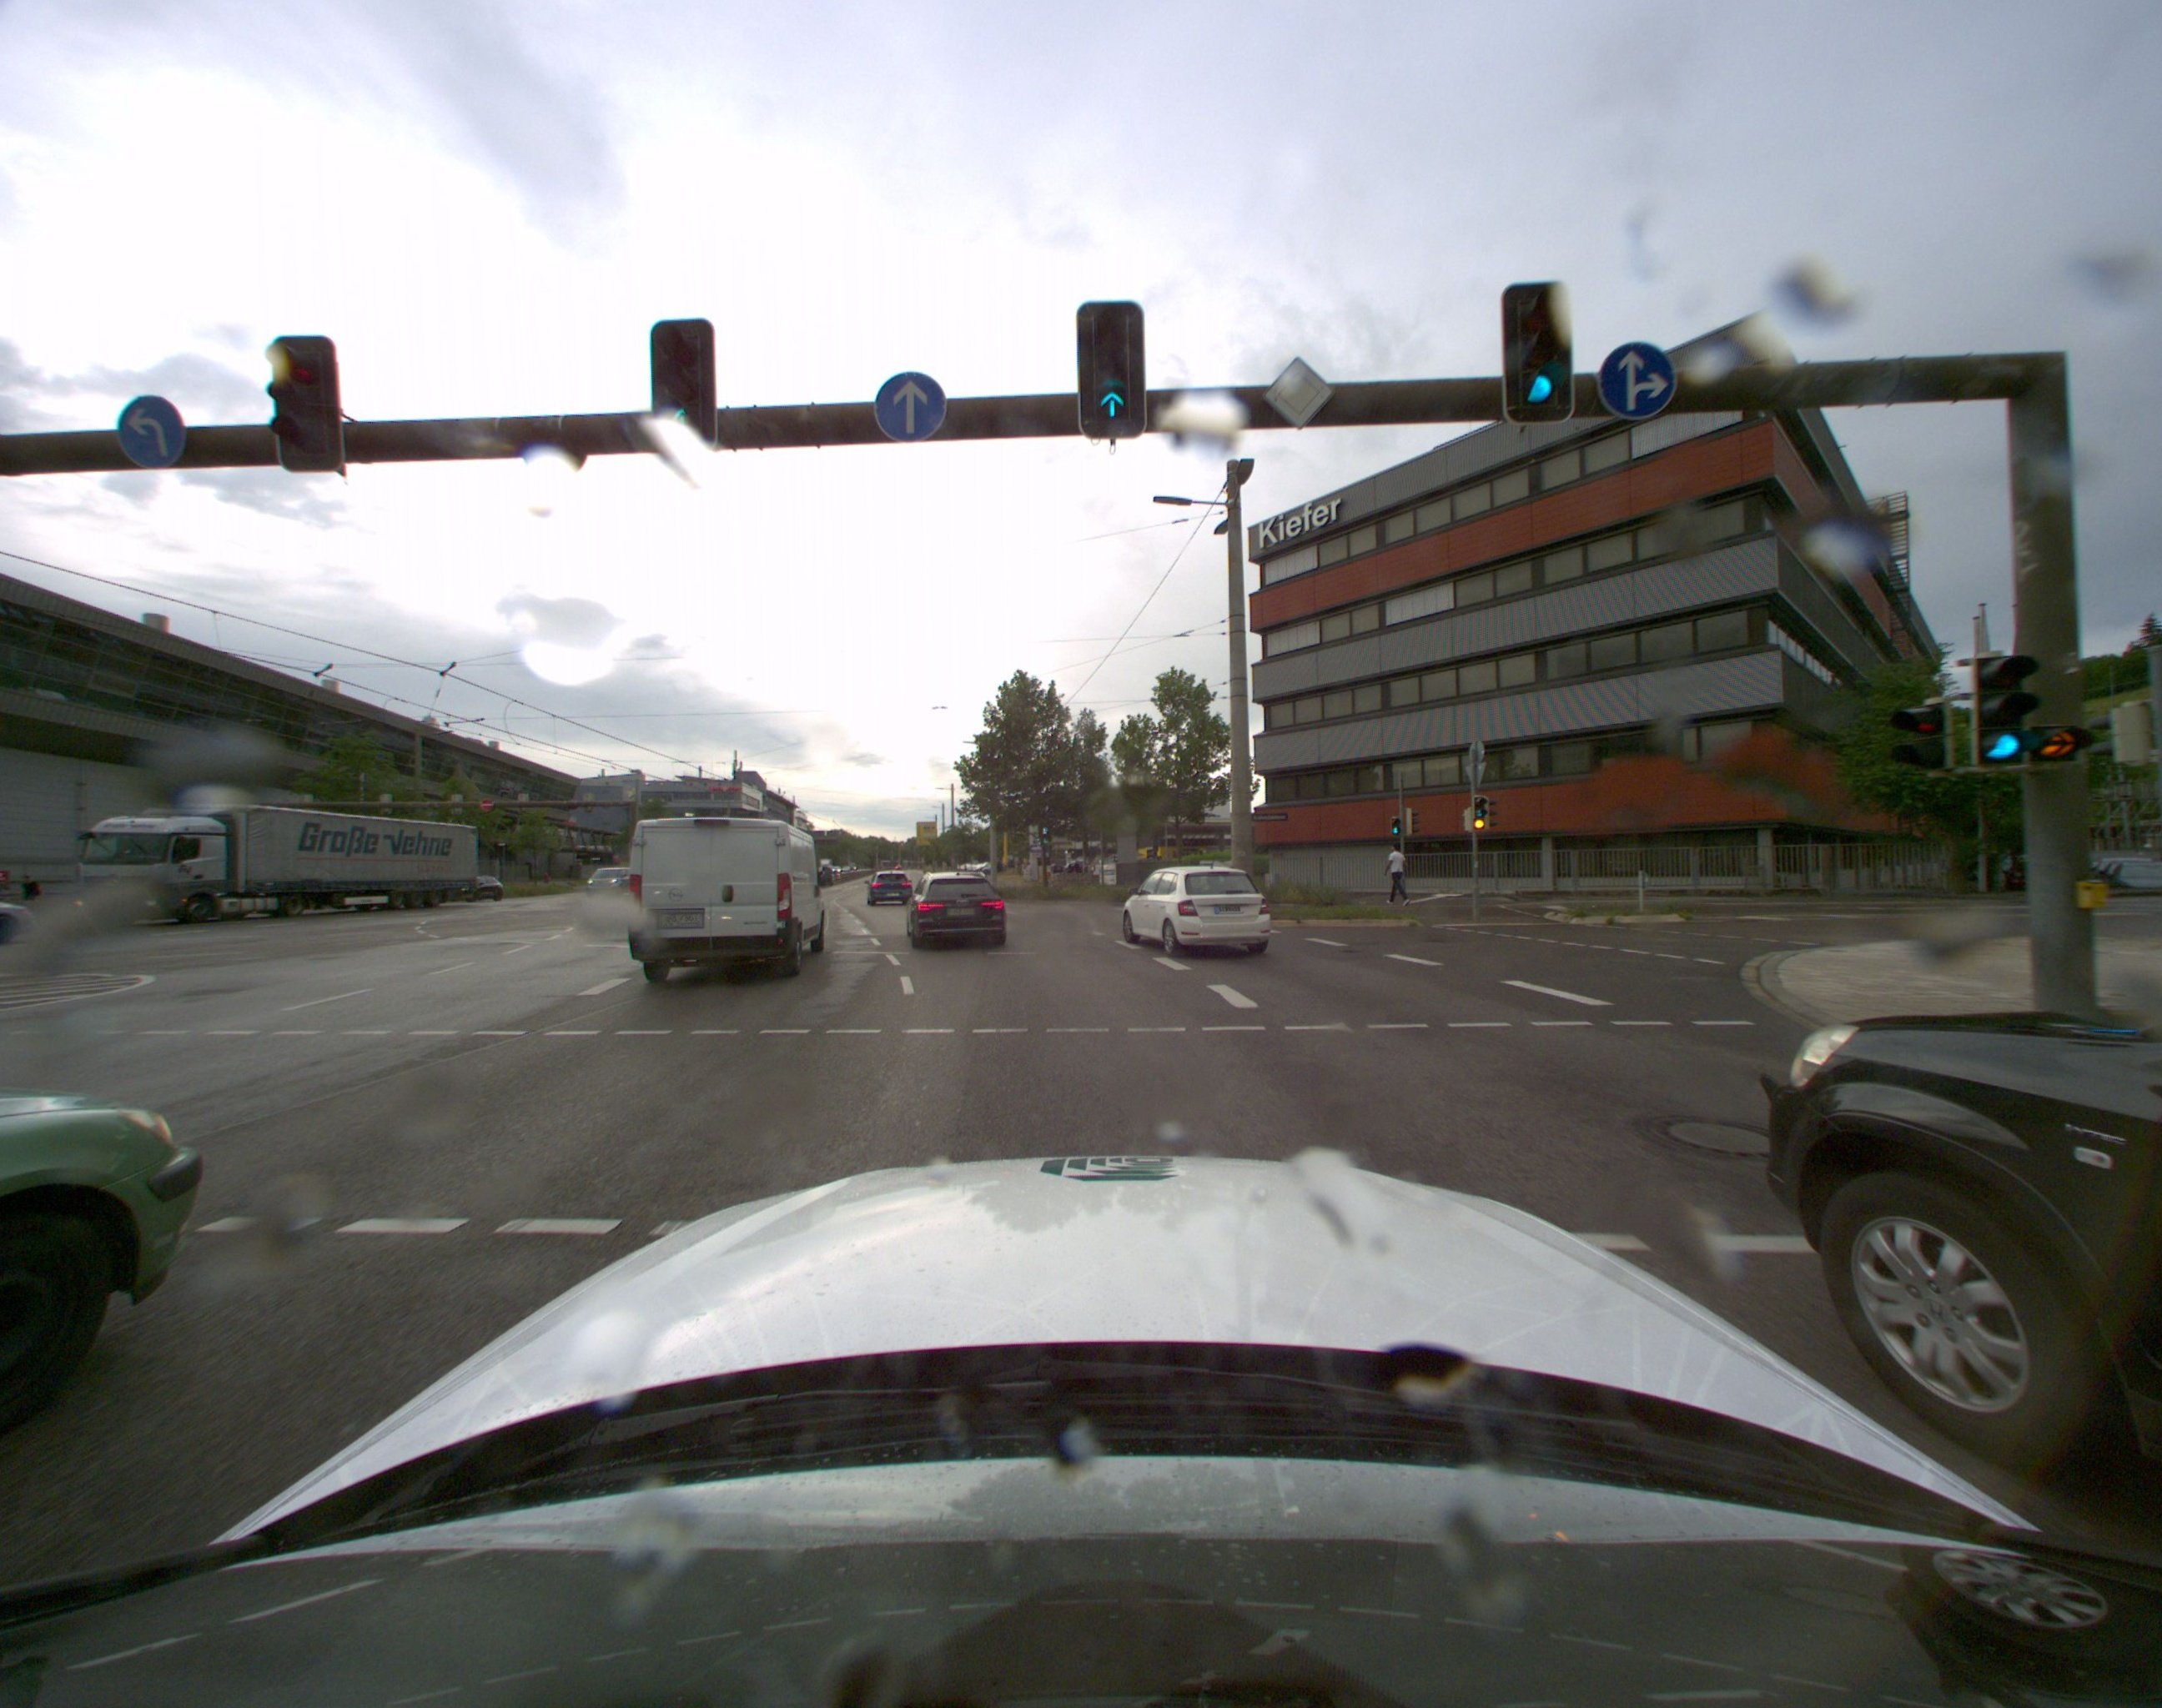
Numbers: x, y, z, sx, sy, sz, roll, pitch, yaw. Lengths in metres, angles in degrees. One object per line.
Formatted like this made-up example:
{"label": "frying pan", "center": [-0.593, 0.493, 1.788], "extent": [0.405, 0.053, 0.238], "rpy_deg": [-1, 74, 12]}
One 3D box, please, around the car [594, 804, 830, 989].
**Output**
{"label": "car", "center": [-5.431, 0.568, 12.836], "extent": [2.448, 2.294, 4.882], "rpy_deg": [-1, -1, -13]}

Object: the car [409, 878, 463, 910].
{"label": "car", "center": [-35.716, 2.196, 45.187], "extent": [2.008, 1.609, 4.594], "rpy_deg": [-1, -1, -35]}

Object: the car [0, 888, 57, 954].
{"label": "car", "center": [-27.377, 1.617, 18.666], "extent": [1.896, 1.555, 4.566], "rpy_deg": [1, -1, 1]}

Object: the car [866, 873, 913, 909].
{"label": "car", "center": [-8.261, 1.560, 35.301], "extent": [1.896, 1.465, 3.892], "rpy_deg": [0, -2, -12]}

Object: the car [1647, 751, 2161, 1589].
{"label": "car", "center": [2.982, 0.619, 0.916], "extent": [1.759, 1.630, 4.325], "rpy_deg": [1, -1, 1]}

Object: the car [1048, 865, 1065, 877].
{"label": "car", "center": [-3.484, 2.370, 115.454], "extent": [1.793, 1.591, 3.982], "rpy_deg": [-1, -1, -13]}

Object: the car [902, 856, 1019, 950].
{"label": "car", "center": [-2.582, 0.893, 16.607], "extent": [1.996, 1.637, 3.981], "rpy_deg": [-1, -1, -14]}

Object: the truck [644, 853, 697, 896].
{"label": "truck", "center": [-37.959, 1.894, 75.491], "extent": [2.744, 3.805, 5.395], "rpy_deg": [-2, -1, -8]}

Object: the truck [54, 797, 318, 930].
{"label": "truck", "center": [-30.916, 0.365, 28.611], "extent": [2.662, 4.130, 6.174], "rpy_deg": [-1, -2, -5]}

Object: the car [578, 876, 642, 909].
{"label": "car", "center": [-31.278, 2.488, 54.262], "extent": [1.993, 1.837, 4.893], "rpy_deg": [3, 0, -9]}

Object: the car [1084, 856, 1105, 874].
{"label": "car", "center": [1.484, 1.266, 92.511], "extent": [1.679, 2.014, 3.528], "rpy_deg": [2, -2, -11]}

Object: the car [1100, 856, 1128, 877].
{"label": "car", "center": [3.323, 1.260, 83.598], "extent": [1.994, 2.032, 3.985], "rpy_deg": [-1, -1, -10]}

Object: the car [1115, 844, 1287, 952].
{"label": "car", "center": [1.974, 0.734, 14.642], "extent": [1.830, 1.656, 3.984], "rpy_deg": [0, -2, -11]}

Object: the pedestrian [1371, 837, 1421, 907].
{"label": "pedestrian", "center": [9.917, 0.560, 25.687], "extent": [1.138, 2.125, 1.224], "rpy_deg": [-2, 0, 5]}

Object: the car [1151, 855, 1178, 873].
{"label": "car", "center": [9.757, 1.194, 95.306], "extent": [1.874, 2.014, 3.753], "rpy_deg": [2, -2, -16]}

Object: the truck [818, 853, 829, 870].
{"label": "truck", "center": [-57.689, 1.804, 182.433], "extent": [2.164, 3.646, 6.831], "rpy_deg": [2, -2, -18]}

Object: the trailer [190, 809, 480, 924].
{"label": "trailer", "center": [-31.804, 0.609, 36.003], "extent": [2.648, 4.125, 12.708], "rpy_deg": [-1, -1, -8]}

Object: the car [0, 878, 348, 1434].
{"label": "car", "center": [-3.677, 0.785, 0.997], "extent": [1.691, 1.468, 4.397], "rpy_deg": [1, -2, -4]}
